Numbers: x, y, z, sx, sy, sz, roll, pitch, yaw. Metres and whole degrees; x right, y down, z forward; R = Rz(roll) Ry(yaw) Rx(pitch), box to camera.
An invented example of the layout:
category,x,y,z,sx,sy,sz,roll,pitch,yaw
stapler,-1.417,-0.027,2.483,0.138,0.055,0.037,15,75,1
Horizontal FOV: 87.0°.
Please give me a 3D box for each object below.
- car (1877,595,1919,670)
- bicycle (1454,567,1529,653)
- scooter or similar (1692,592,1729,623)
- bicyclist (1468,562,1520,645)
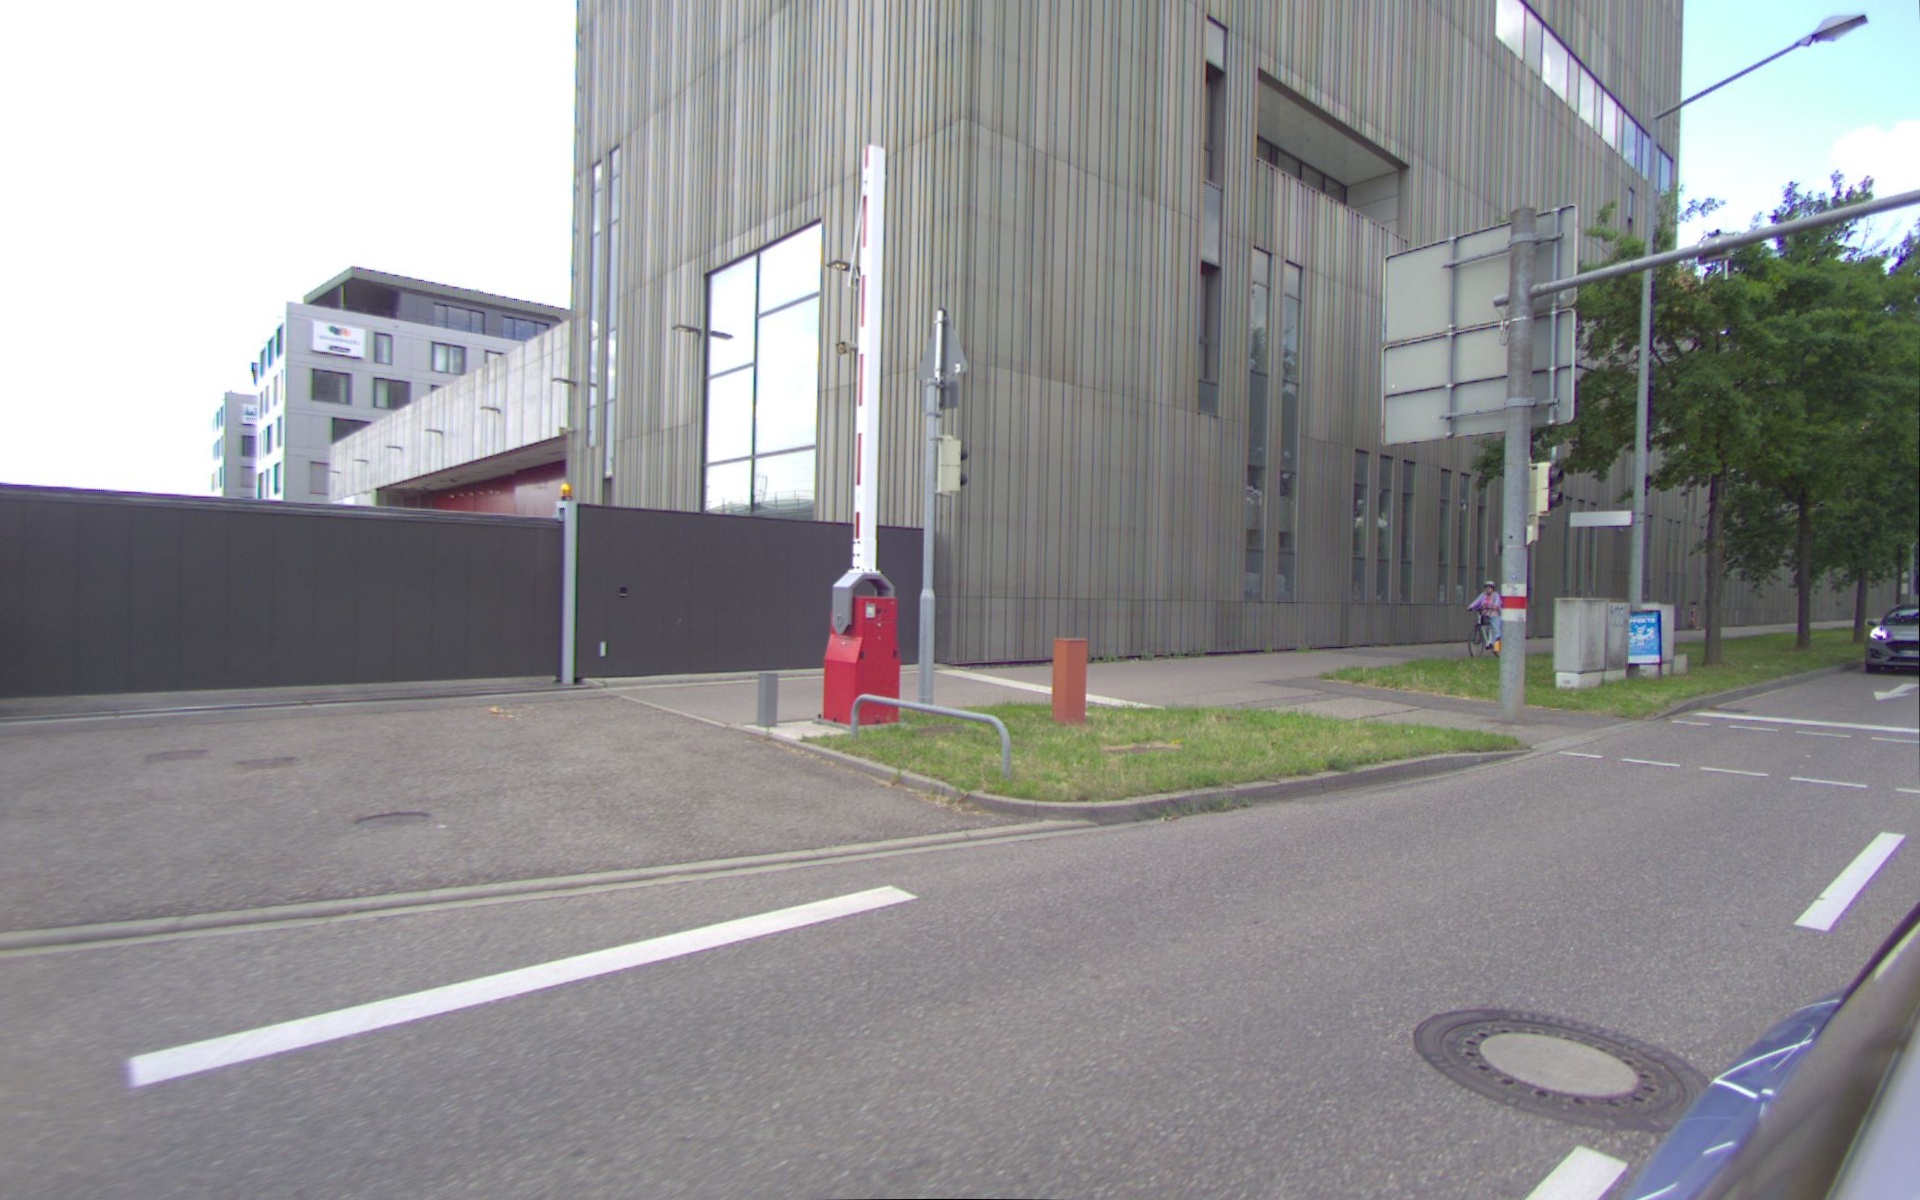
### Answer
category,x,y,z,sx,sy,sz,roll,pitch,yaw
car,21.844,0.694,22.423,3.885,1.594,1.822,0,-1,-41
bicycle,11.822,0.204,22.460,2.492,1.796,0.720,0,1,-45
scooter or similar,32.007,0.301,43.134,2.436,1.261,0.706,0,2,-41
bicyclist,11.873,0.076,22.504,0.972,1.791,0.716,0,1,-44
